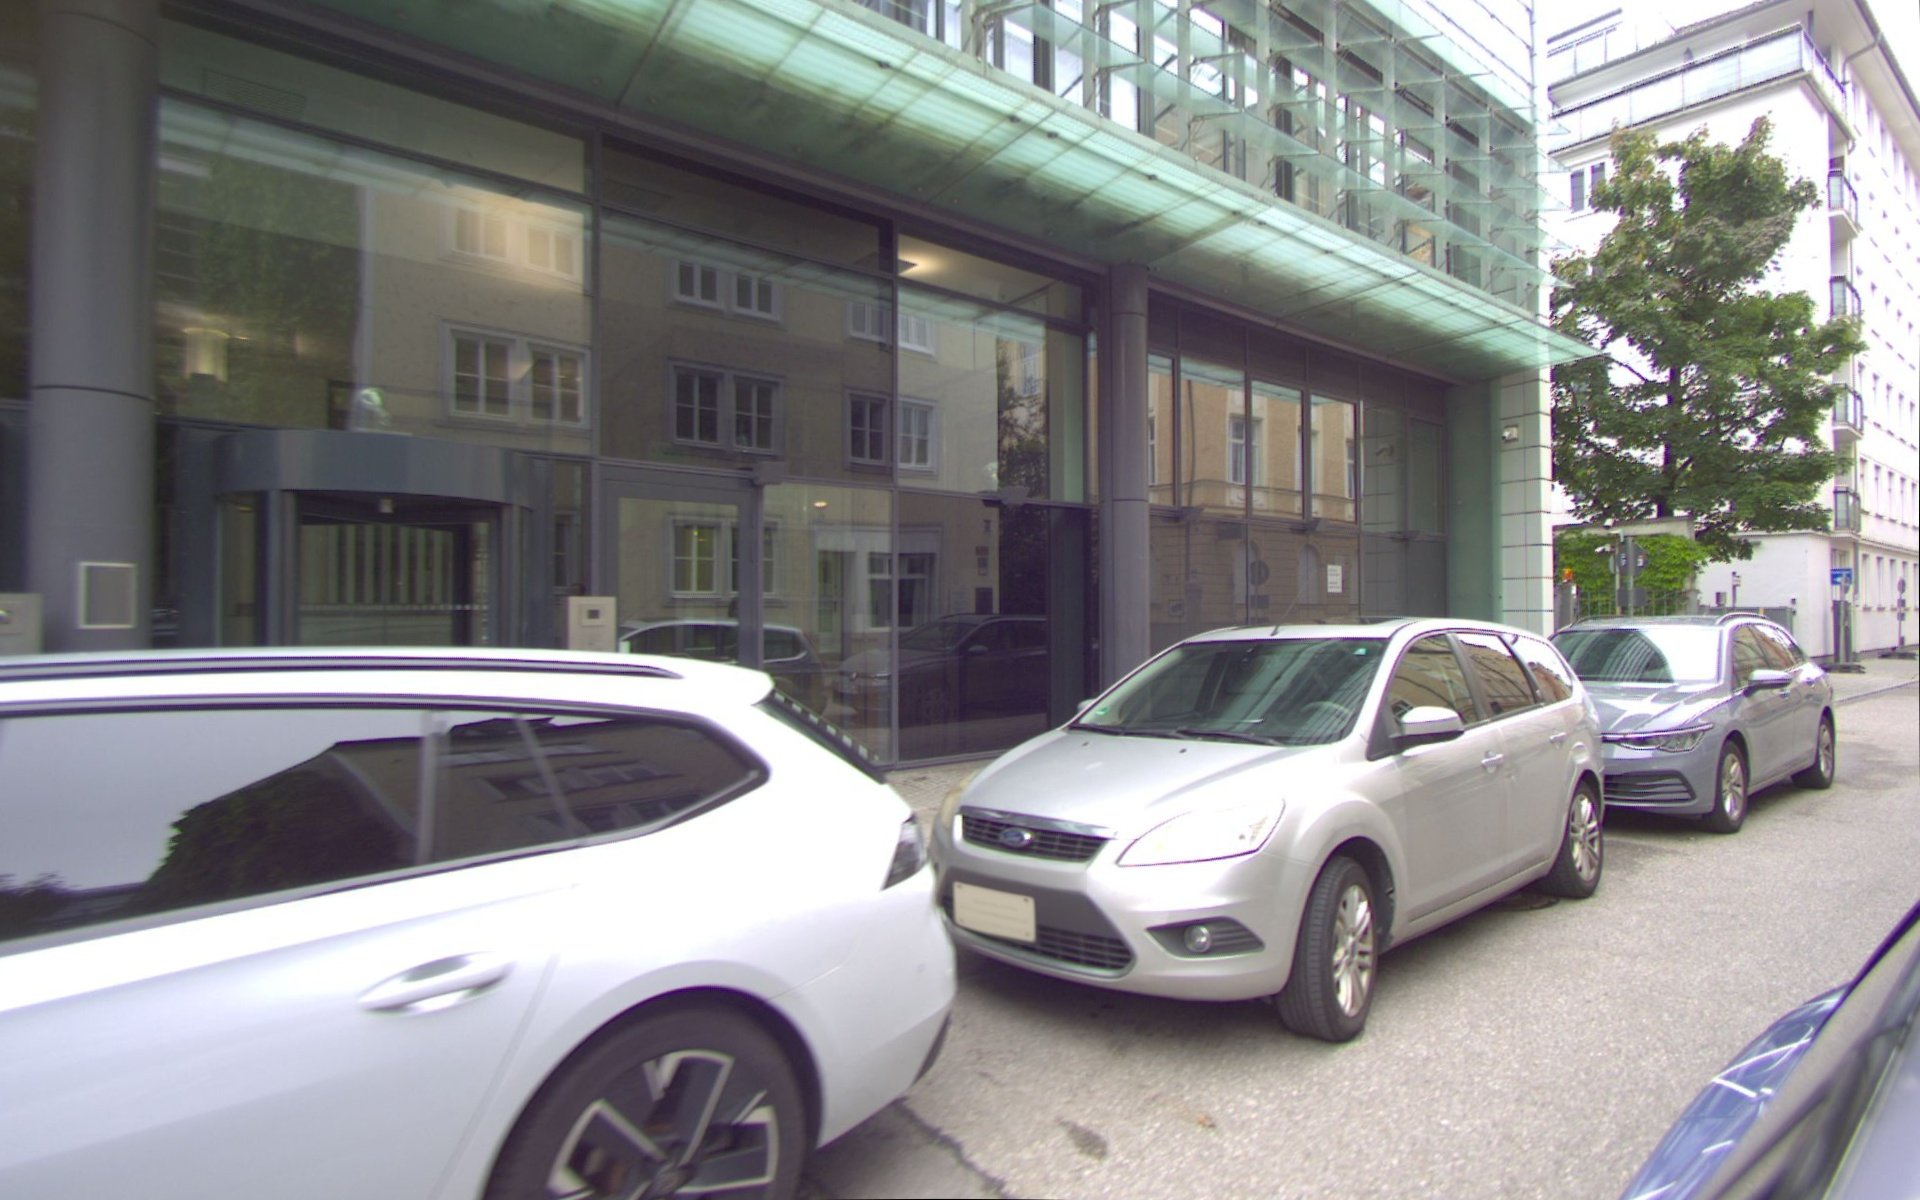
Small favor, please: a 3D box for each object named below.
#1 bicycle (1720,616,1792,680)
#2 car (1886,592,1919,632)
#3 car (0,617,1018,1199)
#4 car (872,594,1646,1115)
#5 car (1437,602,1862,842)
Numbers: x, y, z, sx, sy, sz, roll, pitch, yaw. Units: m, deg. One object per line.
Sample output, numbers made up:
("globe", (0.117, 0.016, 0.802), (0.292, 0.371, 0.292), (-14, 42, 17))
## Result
("bicycle", (15.687, 0.954, 19.932), (1.799, 1.214, 0.709), (4, -3, -38))
("car", (47.661, 0.588, 48.376), (1.895, 1.915, 4.687), (1, -1, -30))
("car", (-2.111, 0.801, 1.880), (4.429, 1.432, 1.711), (0, -2, -39))
("car", (1.750, 0.760, 4.963), (4.165, 1.486, 1.709), (0, -3, -43))
("car", (5.698, 0.753, 8.151), (4.252, 1.451, 1.711), (0, -1, -40))
